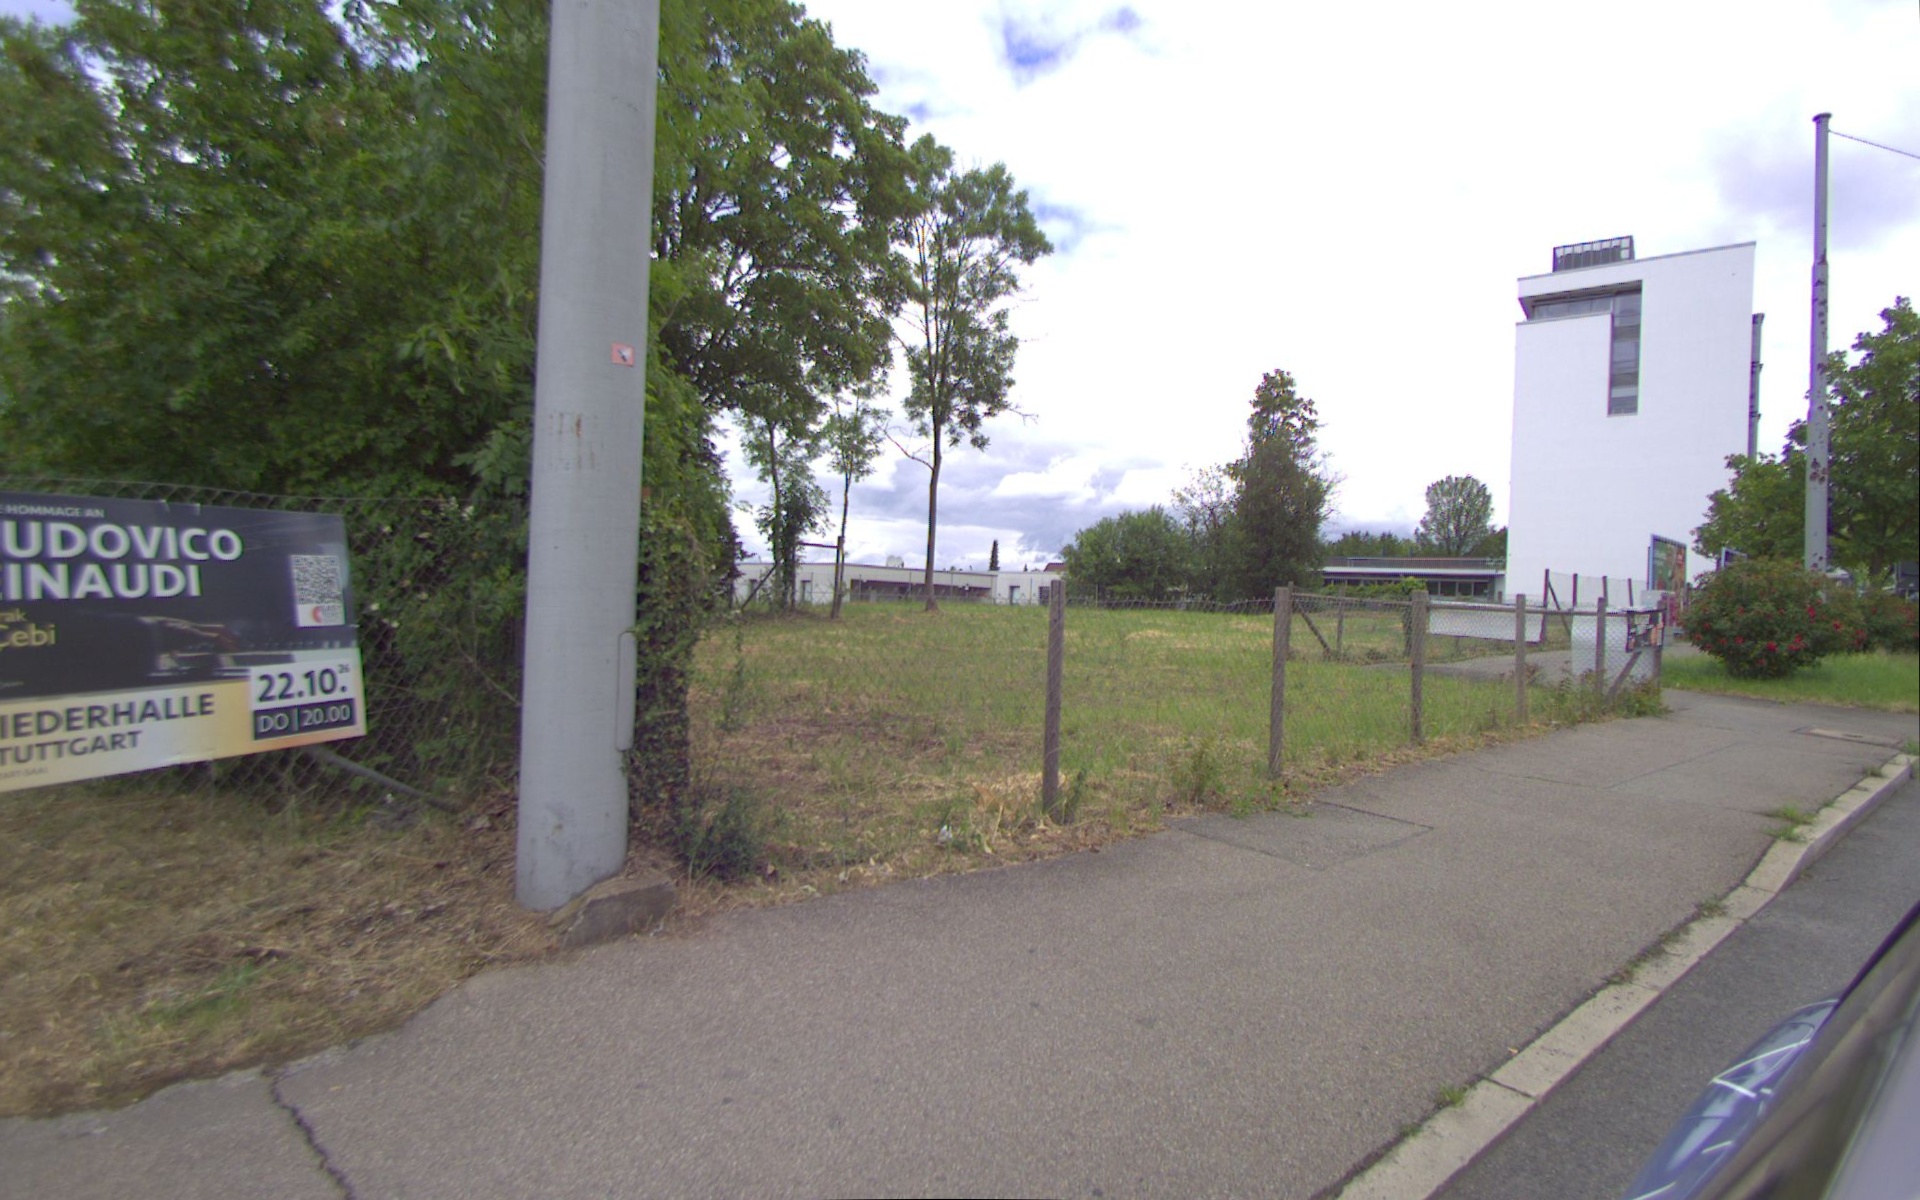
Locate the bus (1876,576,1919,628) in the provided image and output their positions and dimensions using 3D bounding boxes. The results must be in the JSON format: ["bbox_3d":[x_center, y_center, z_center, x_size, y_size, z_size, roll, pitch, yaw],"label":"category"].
[{"bbox_3d":[64.530,0.227,68.517,2.710,3.145,8.746,9,4,38],"label":"bus"}]

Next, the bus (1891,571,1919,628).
[{"bbox_3d":[59.128,0.128,61.473,2.709,3.201,9.001,7,3,38],"label":"bus"}]
